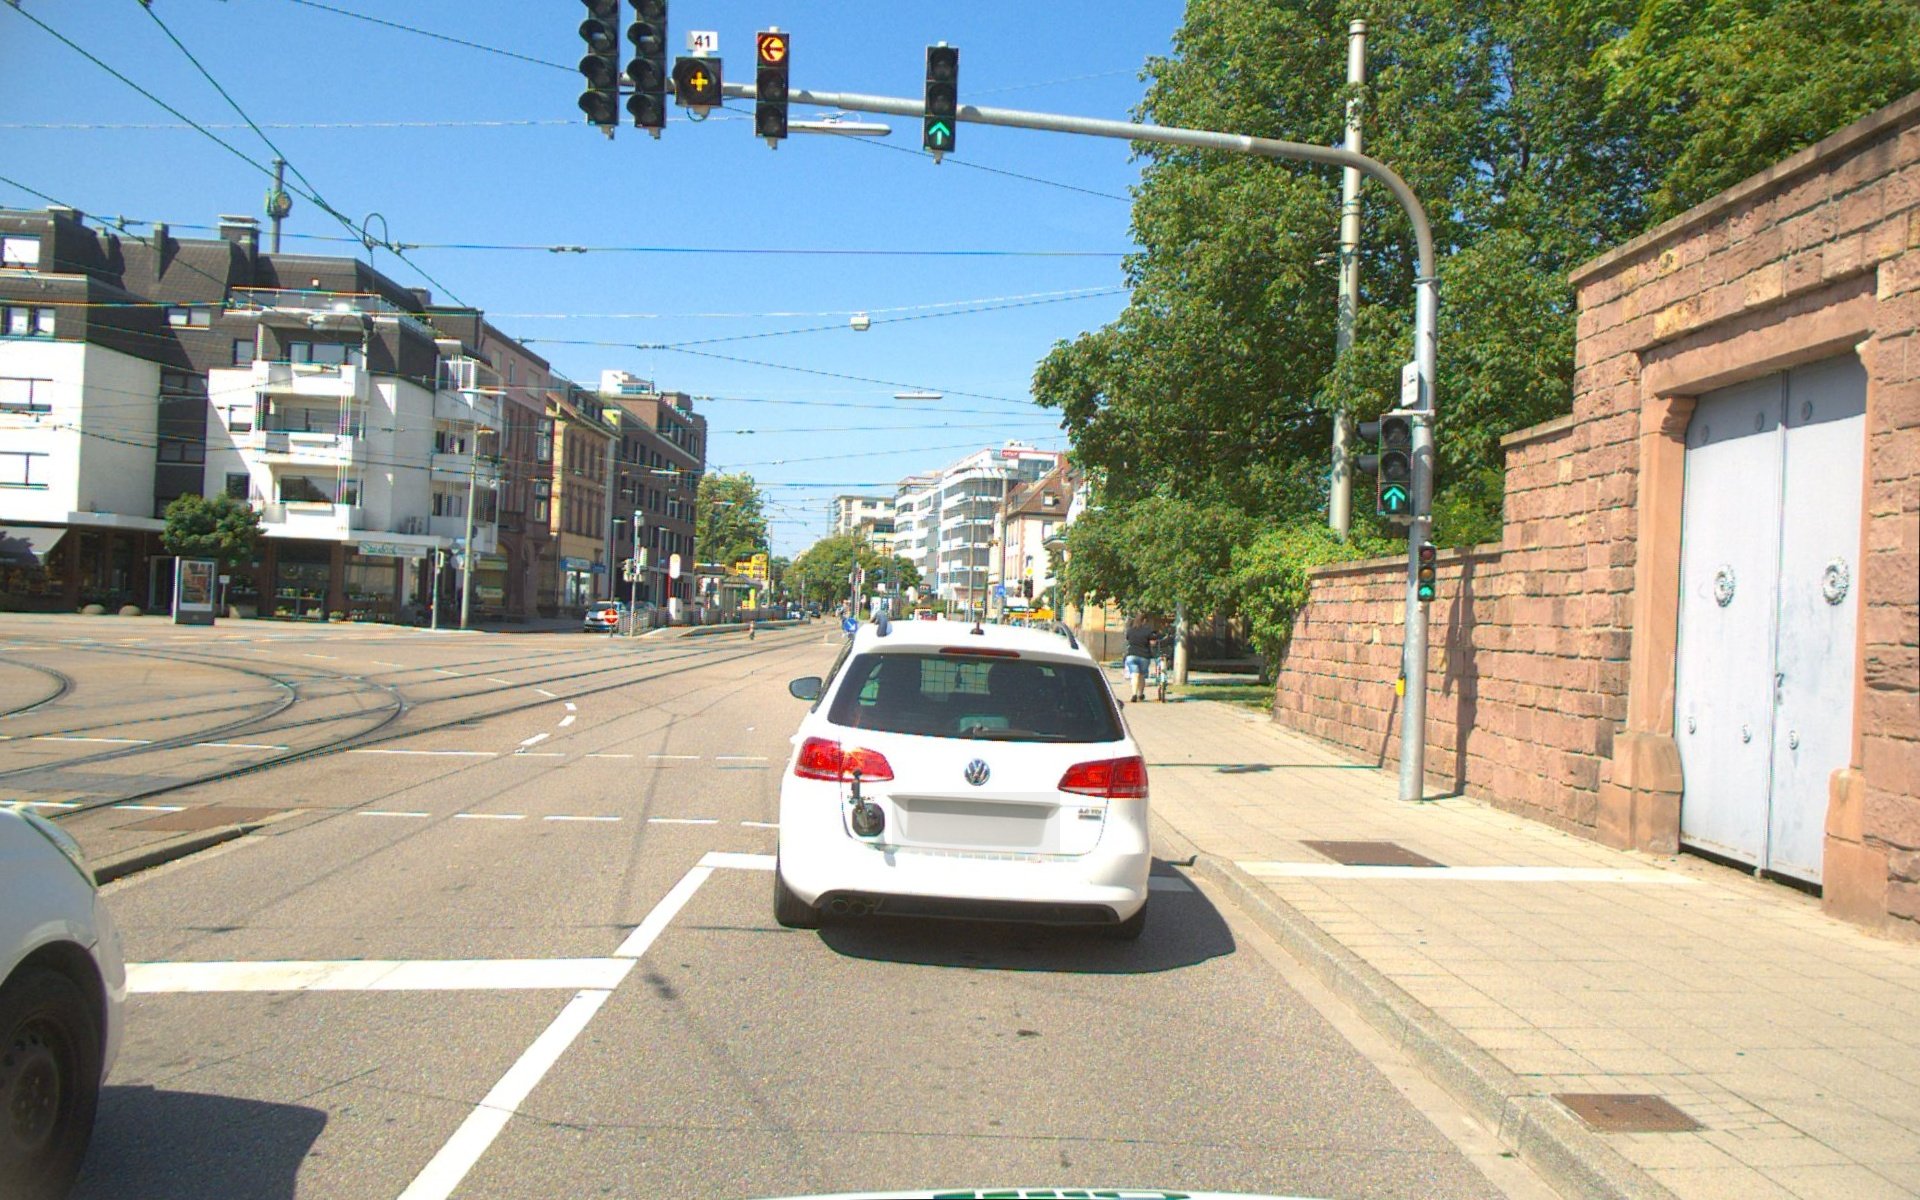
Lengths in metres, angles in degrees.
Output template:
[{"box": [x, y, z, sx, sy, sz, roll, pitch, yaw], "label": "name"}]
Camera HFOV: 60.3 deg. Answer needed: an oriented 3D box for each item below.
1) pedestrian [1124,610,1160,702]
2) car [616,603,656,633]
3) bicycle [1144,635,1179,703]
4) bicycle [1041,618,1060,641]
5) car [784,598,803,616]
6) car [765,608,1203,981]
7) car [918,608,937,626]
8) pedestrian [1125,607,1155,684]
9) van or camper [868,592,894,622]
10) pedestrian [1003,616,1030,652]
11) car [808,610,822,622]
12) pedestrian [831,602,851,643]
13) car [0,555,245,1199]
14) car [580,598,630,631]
[{"box": [3.190, 0.972, 28.994, 0.529, 1.576, 0.663, 0, -1, -2], "label": "pedestrian"}, {"box": [-17.023, 0.935, 87.056, 1.542, 1.484, 3.810, 2, 0, -4], "label": "car"}, {"box": [3.523, 1.179, 28.837, 0.524, 1.131, 1.808, 1, -1, 8], "label": "bicycle"}, {"box": [4.882, 1.584, 89.314, 0.710, 1.159, 2.196, 2, -1, 11], "label": "bicycle"}, {"box": [-19.270, 0.844, 191.548, 1.954, 2.049, 3.998, 1, -1, -3], "label": "car"}, {"box": [0.076, 0.801, 8.599, 1.717, 1.442, 3.852, 2, -1, -1], "label": "car"}, {"box": [-3.773, 1.935, 191.535, 1.955, 2.049, 3.995, 2, 0, -5], "label": "car"}, {"box": [4.114, 1.037, 37.812, 0.636, 1.711, 0.708, 2, -1, 6], "label": "pedestrian"}, {"box": [-9.132, 0.798, 191.295, 2.885, 3.235, 6.609, 2, 0, -3], "label": "van or camper"}, {"box": [2.444, 1.491, 72.091, 0.841, 1.536, 0.779, 1, -1, 36], "label": "pedestrian"}, {"box": [-19.525, 2.169, 222.420, 1.634, 1.492, 3.772, 2, 0, -1], "label": "car"}, {"box": [-5.513, 1.047, 76.593, 0.810, 1.841, 0.833, 2, -1, -1], "label": "pedestrian"}, {"box": [-2.881, 0.680, 2.641, 1.730, 1.588, 4.066, 1, 0, -1], "label": "car"}, {"box": [-16.991, 0.718, 79.306, 1.593, 1.456, 3.960, 3, -1, -3], "label": "car"}]
